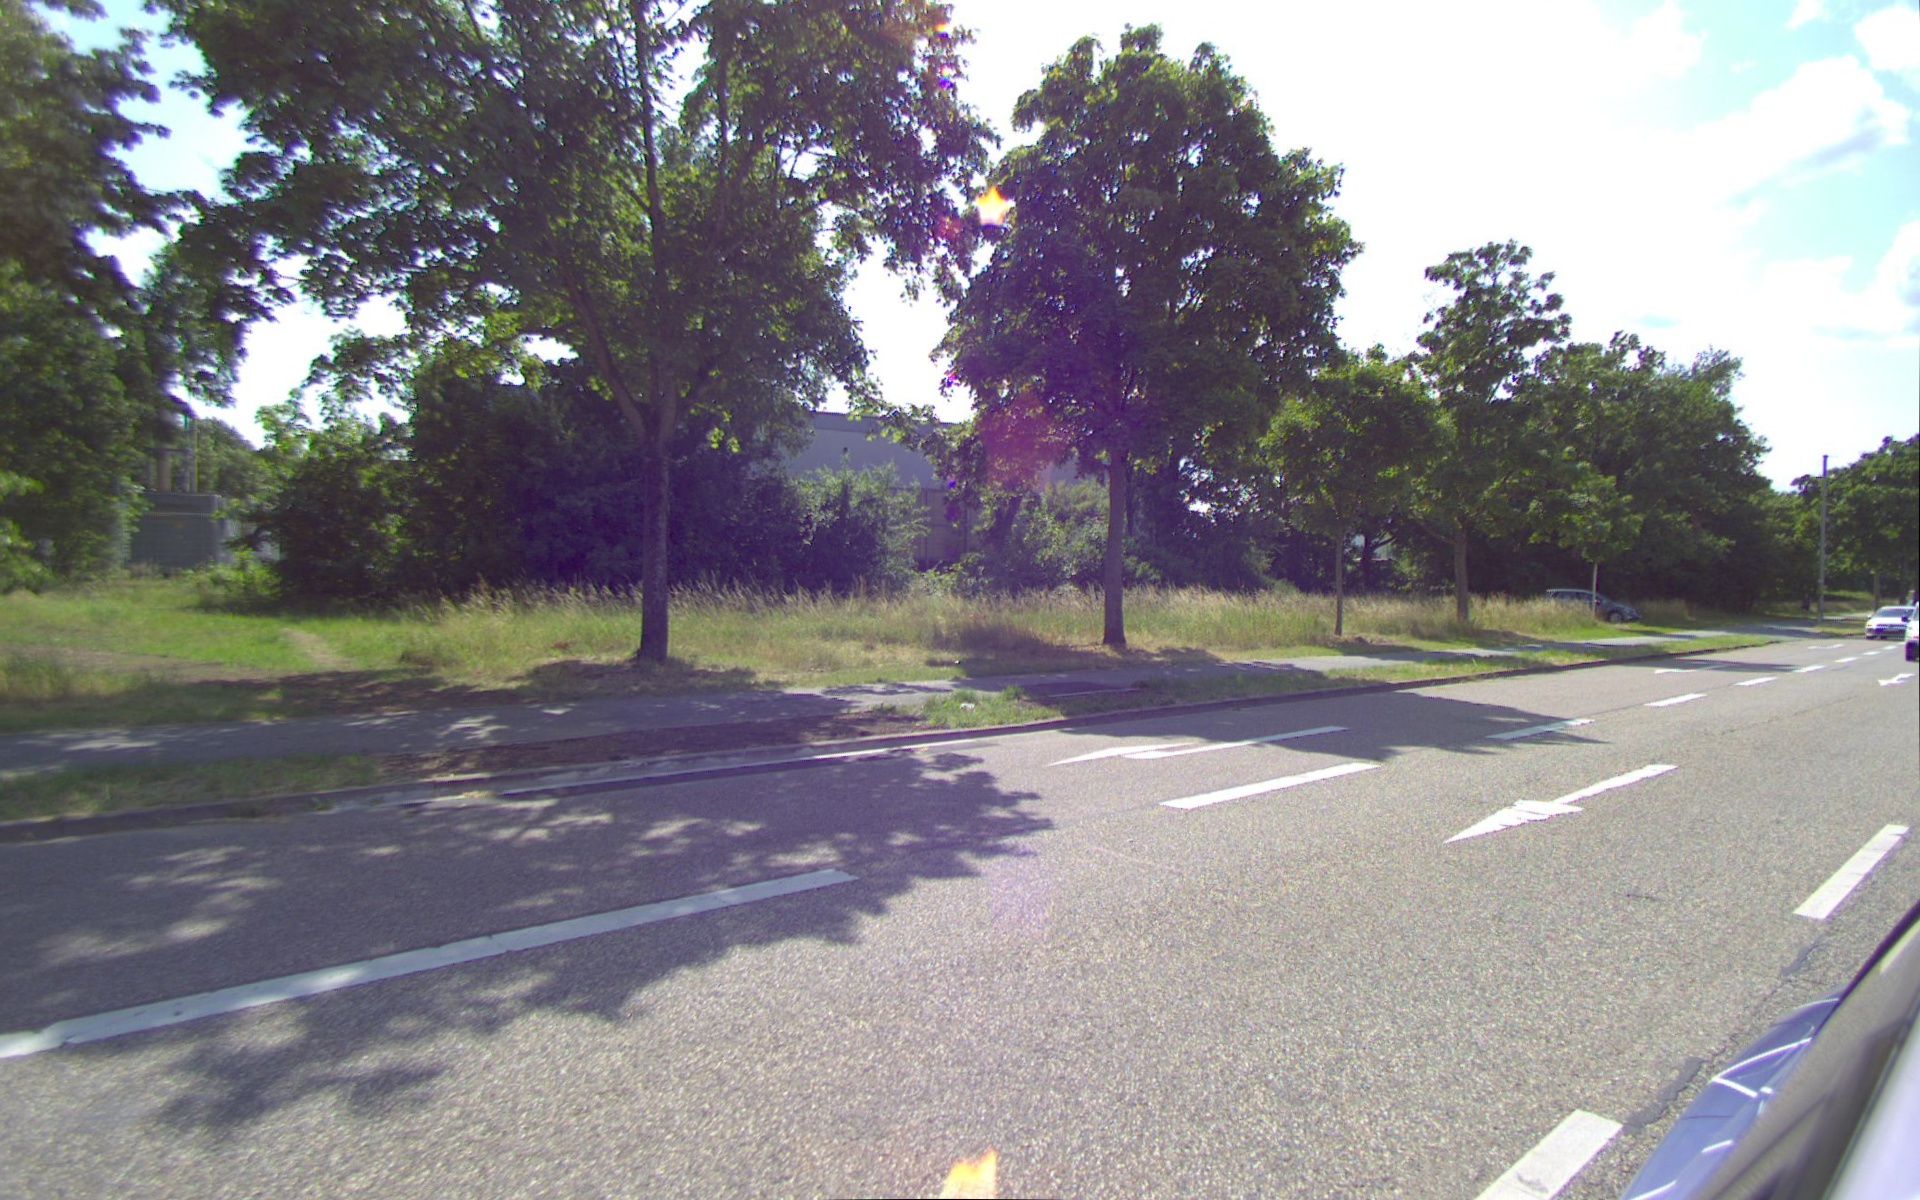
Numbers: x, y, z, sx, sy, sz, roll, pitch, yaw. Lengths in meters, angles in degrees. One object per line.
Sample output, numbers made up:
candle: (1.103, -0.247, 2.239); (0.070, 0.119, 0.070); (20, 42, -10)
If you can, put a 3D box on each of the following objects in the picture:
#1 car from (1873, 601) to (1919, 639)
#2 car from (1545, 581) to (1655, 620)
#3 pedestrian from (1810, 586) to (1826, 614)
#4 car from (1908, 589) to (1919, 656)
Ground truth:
car: (40.331, 0.818, 42.993); (4.019, 1.504, 1.736); (0, 1, -40)
car: (30.942, 0.024, 48.980); (4.166, 1.511, 1.755); (6, 3, 45)
pedestrian: (56.901, -0.023, 67.100); (0.727, 1.816, 0.717); (-1, 0, -43)
car: (28.118, 0.600, 28.278); (4.634, 1.808, 1.933); (0, -1, -42)
